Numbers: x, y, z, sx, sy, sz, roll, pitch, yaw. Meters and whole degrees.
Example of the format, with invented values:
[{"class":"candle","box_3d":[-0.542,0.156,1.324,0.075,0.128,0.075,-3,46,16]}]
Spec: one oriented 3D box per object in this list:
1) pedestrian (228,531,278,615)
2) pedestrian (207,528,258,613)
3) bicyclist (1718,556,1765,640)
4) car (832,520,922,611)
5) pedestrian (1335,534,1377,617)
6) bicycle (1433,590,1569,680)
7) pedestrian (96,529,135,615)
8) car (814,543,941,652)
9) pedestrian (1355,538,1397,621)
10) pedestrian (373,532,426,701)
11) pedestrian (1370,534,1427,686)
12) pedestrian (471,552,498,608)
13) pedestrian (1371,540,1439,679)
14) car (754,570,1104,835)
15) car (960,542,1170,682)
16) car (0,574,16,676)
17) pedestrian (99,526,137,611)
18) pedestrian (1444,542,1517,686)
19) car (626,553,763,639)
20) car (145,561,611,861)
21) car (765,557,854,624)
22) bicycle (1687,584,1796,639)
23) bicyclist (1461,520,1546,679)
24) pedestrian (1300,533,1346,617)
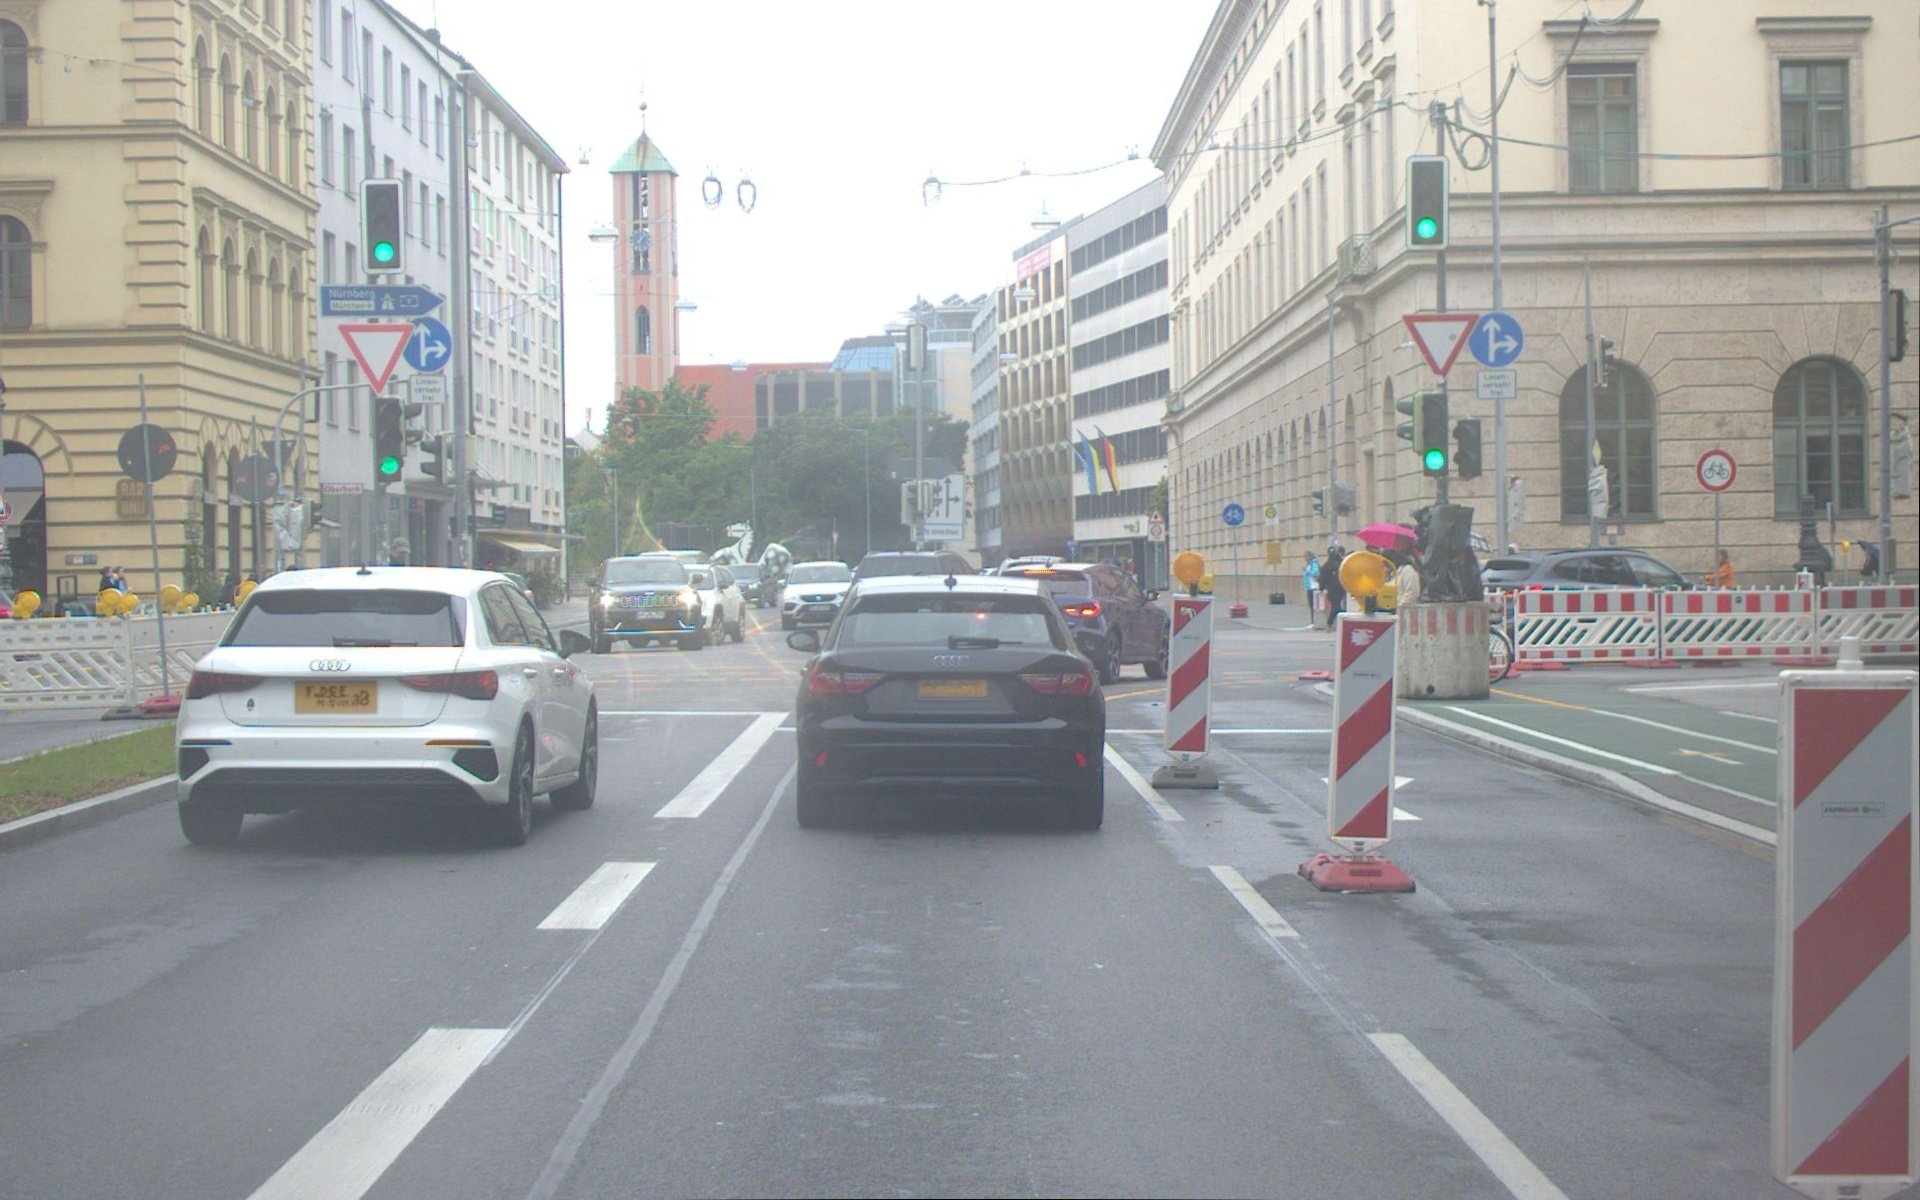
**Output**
[{"class":"pedestrian","box_3d":[-14.937,-0.567,72.643,0.734,1.766,0.738,1,1,21]},{"class":"pedestrian","box_3d":[-15.209,-0.624,71.897,0.734,1.766,0.760,1,1,21]},{"class":"bicyclist","box_3d":[15.185,-0.045,66.848,0.744,1.609,0.795,0,1,3]},{"class":"car","box_3d":[-1.876,-0.789,78.664,1.993,2.007,4.000,-1,1,-1]},{"class":"pedestrian","box_3d":[8.320,-0.517,72.276,0.584,1.749,0.818,1,1,31]},{"class":"bicycle","box_3d":[6.342,0.403,40.354,0.585,1.008,1.656,0,1,-35]},{"class":"pedestrian","box_3d":[-17.440,-0.576,70.982,0.733,1.766,0.739,0,1,-10]},{"class":"car","box_3d":[-1.257,-0.067,53.040,1.865,1.596,3.851,-1,1,-1]},{"class":"pedestrian","box_3d":[8.850,-0.449,73.177,0.584,1.749,0.818,1,1,31]},{"class":"pedestrian","box_3d":[-5.892,0.162,36.119,0.512,1.737,1.043,-1,1,-10]},{"class":"pedestrian","box_3d":[4.701,0.104,36.874,0.531,1.614,0.674,0,1,2]},{"class":"pedestrian","box_3d":[-15.150,-0.631,109.555,0.737,1.766,0.736,0,1,-1]},{"class":"pedestrian","box_3d":[5.040,0.100,38.928,0.702,1.562,0.541,0,1,2]},{"class":"car","box_3d":[-0.186,0.529,20.360,1.863,1.383,4.000,0,1,-1]},{"class":"car","box_3d":[1.336,0.104,41.908,1.770,1.611,3.998,1,1,14]},{"class":"car","box_3d":[-18.790,0.464,61.135,3.739,1.792,1.869,-1,1,-12]},{"class":"pedestrian","box_3d":[-17.563,-0.661,71.722,0.733,1.766,0.739,0,1,-10]},{"class":"pedestrian","box_3d":[5.724,0.150,37.833,0.702,1.562,0.682,0,1,2]},{"class":"car","box_3d":[-5.397,-0.098,70.470,1.794,1.672,4.231,-1,1,10]},{"class":"car","box_3d":[-3.058,0.516,18.962,1.813,1.420,4.452,1,1,0]},{"class":"car","box_3d":[-3.576,-0.249,82.323,1.993,1.519,4.233,-1,1,-1]},{"class":"bicycle","box_3d":[15.189,0.223,66.853,1.958,1.037,0.795,0,1,3]},{"class":"bicyclist","box_3d":[6.370,-0.012,40.312,0.566,1.847,0.799,0,1,-35]},{"class":"pedestrian","box_3d":[7.574,-0.523,71.728,0.818,1.749,0.679,1,1,16]}]
